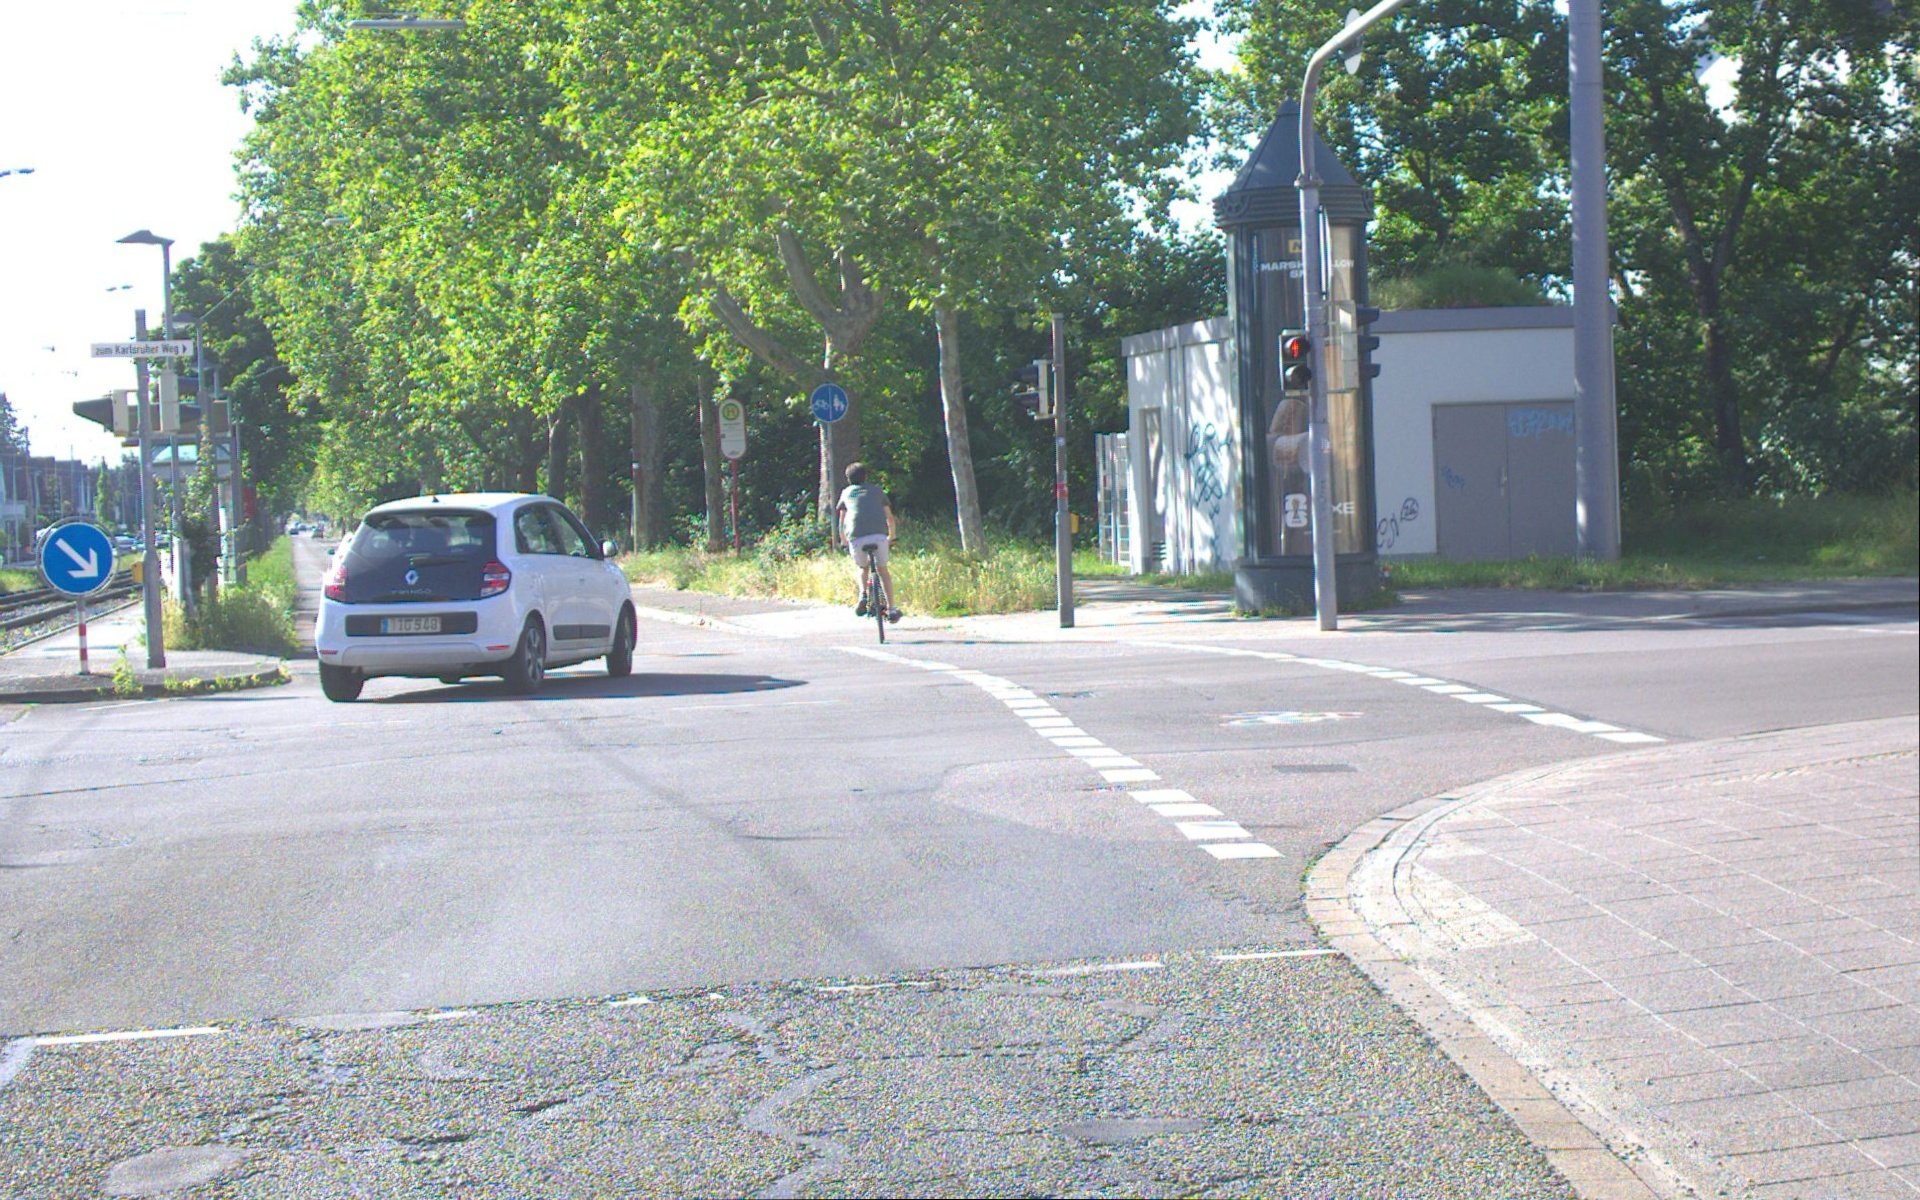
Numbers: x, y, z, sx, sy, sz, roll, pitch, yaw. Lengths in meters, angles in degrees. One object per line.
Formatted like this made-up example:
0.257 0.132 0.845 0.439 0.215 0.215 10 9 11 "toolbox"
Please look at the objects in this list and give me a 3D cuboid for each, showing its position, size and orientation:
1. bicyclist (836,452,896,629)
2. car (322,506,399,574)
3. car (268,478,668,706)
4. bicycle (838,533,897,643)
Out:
-0.954 -0.611 35.110 0.534 1.763 0.713 -2 2 -1 "bicyclist"
-15.249 -1.534 87.305 1.750 1.599 3.582 -3 2 -12 "car"
-3.779 -0.115 27.077 1.751 1.599 3.748 -2 2 14 "car"
-0.937 -0.137 35.061 0.536 1.062 1.434 -2 2 -1 "bicycle"
